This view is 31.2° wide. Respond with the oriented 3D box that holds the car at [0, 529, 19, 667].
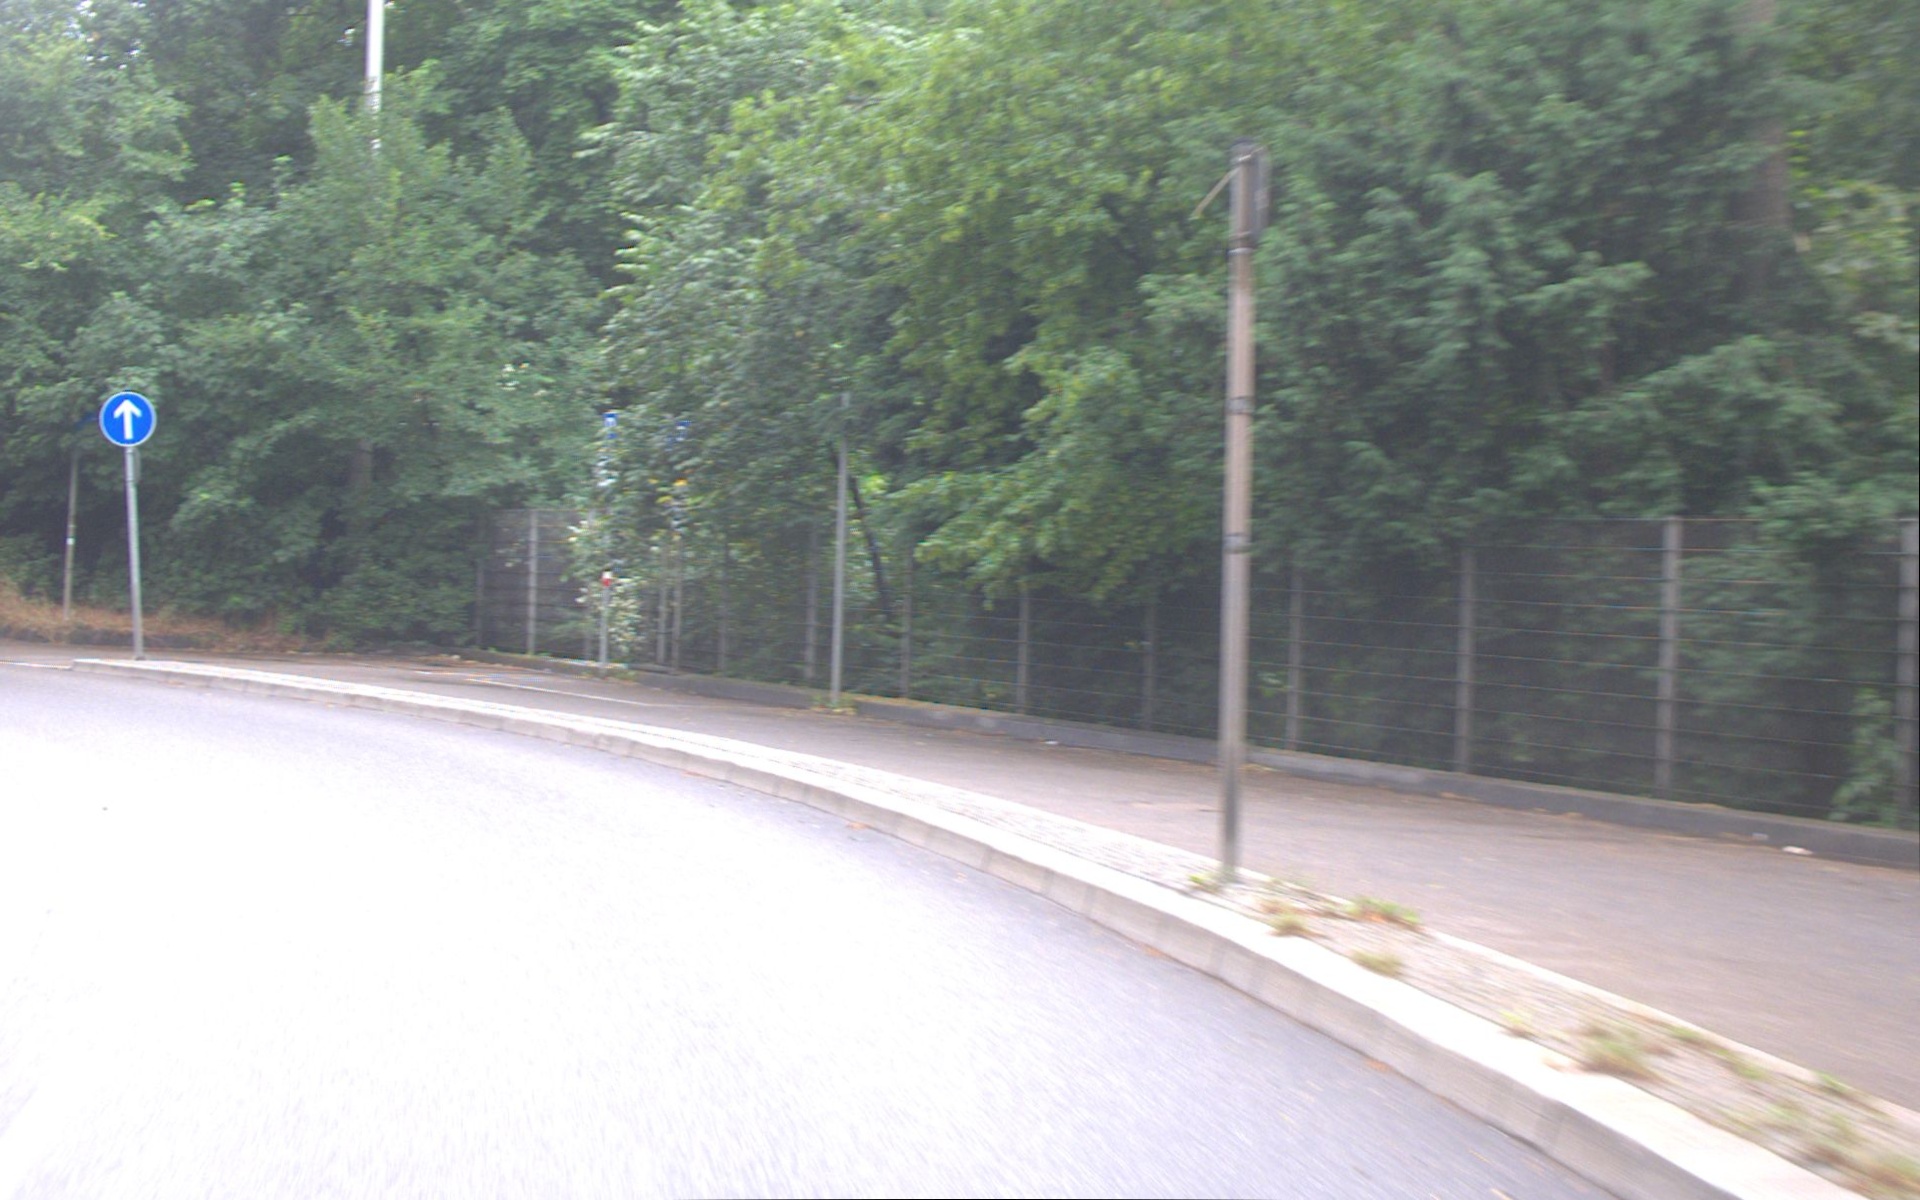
[{"bbox_3d":[-11.714,0.071,37.179,1.757,1.428,4.412,0,-2,-32],"label":"car"}]
